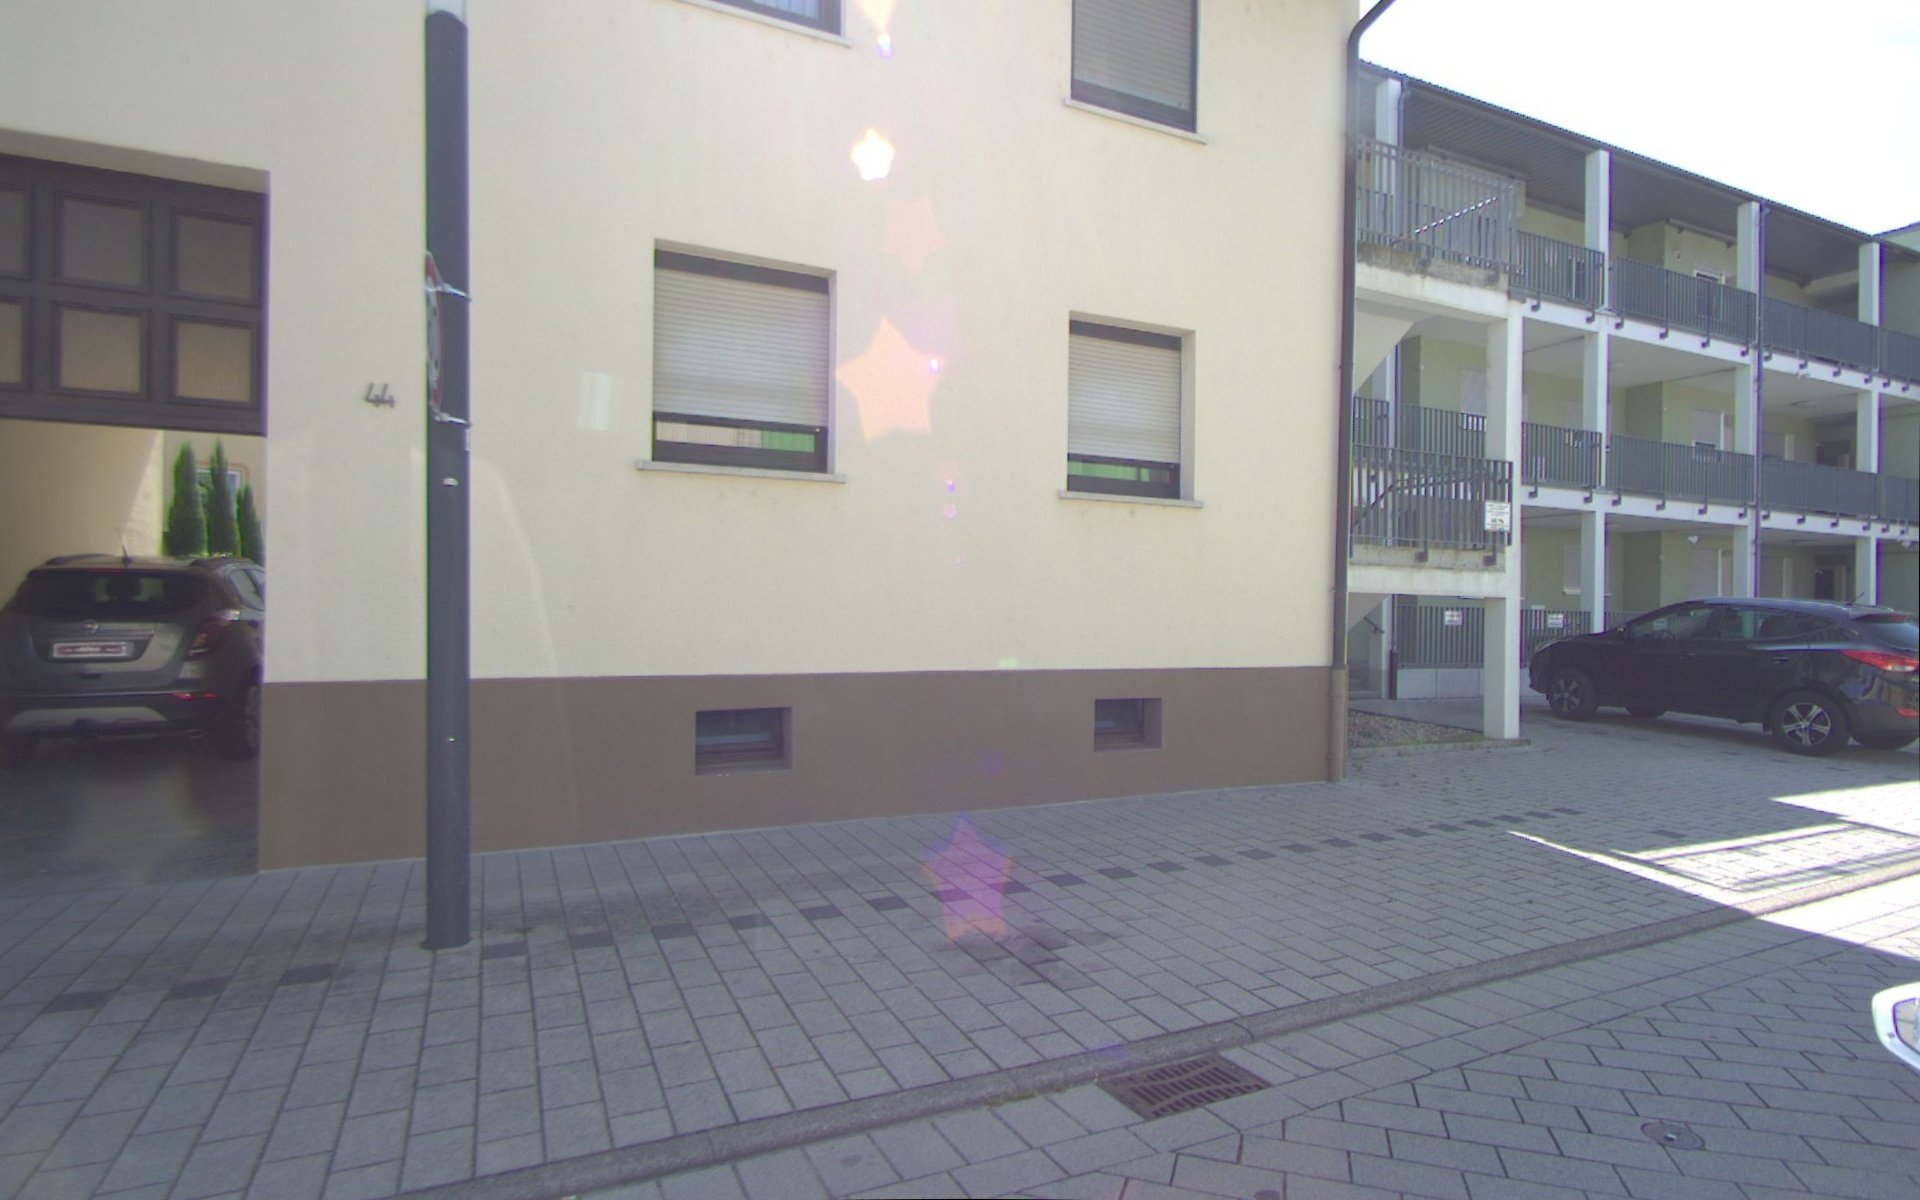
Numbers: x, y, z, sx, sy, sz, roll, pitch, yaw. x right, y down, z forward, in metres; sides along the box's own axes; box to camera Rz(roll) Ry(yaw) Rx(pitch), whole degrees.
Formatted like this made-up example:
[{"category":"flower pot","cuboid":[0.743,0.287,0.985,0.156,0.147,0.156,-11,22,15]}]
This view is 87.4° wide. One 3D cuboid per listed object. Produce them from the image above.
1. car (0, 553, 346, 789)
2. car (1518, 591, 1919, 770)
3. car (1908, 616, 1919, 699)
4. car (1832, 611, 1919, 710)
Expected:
[{"category":"car","cuboid":[-7.113,0.439,9.167,1.862,1.647,3.979,1,2,-21]},{"category":"car","cuboid":[9.375,0.804,12.266,1.761,1.680,4.205,1,1,-26]},{"category":"car","cuboid":[18.552,1.121,16.486,1.668,1.461,3.974,1,2,-25]},{"category":"car","cuboid":[16.398,1.033,15.614,1.726,1.523,3.890,1,2,-24]}]
